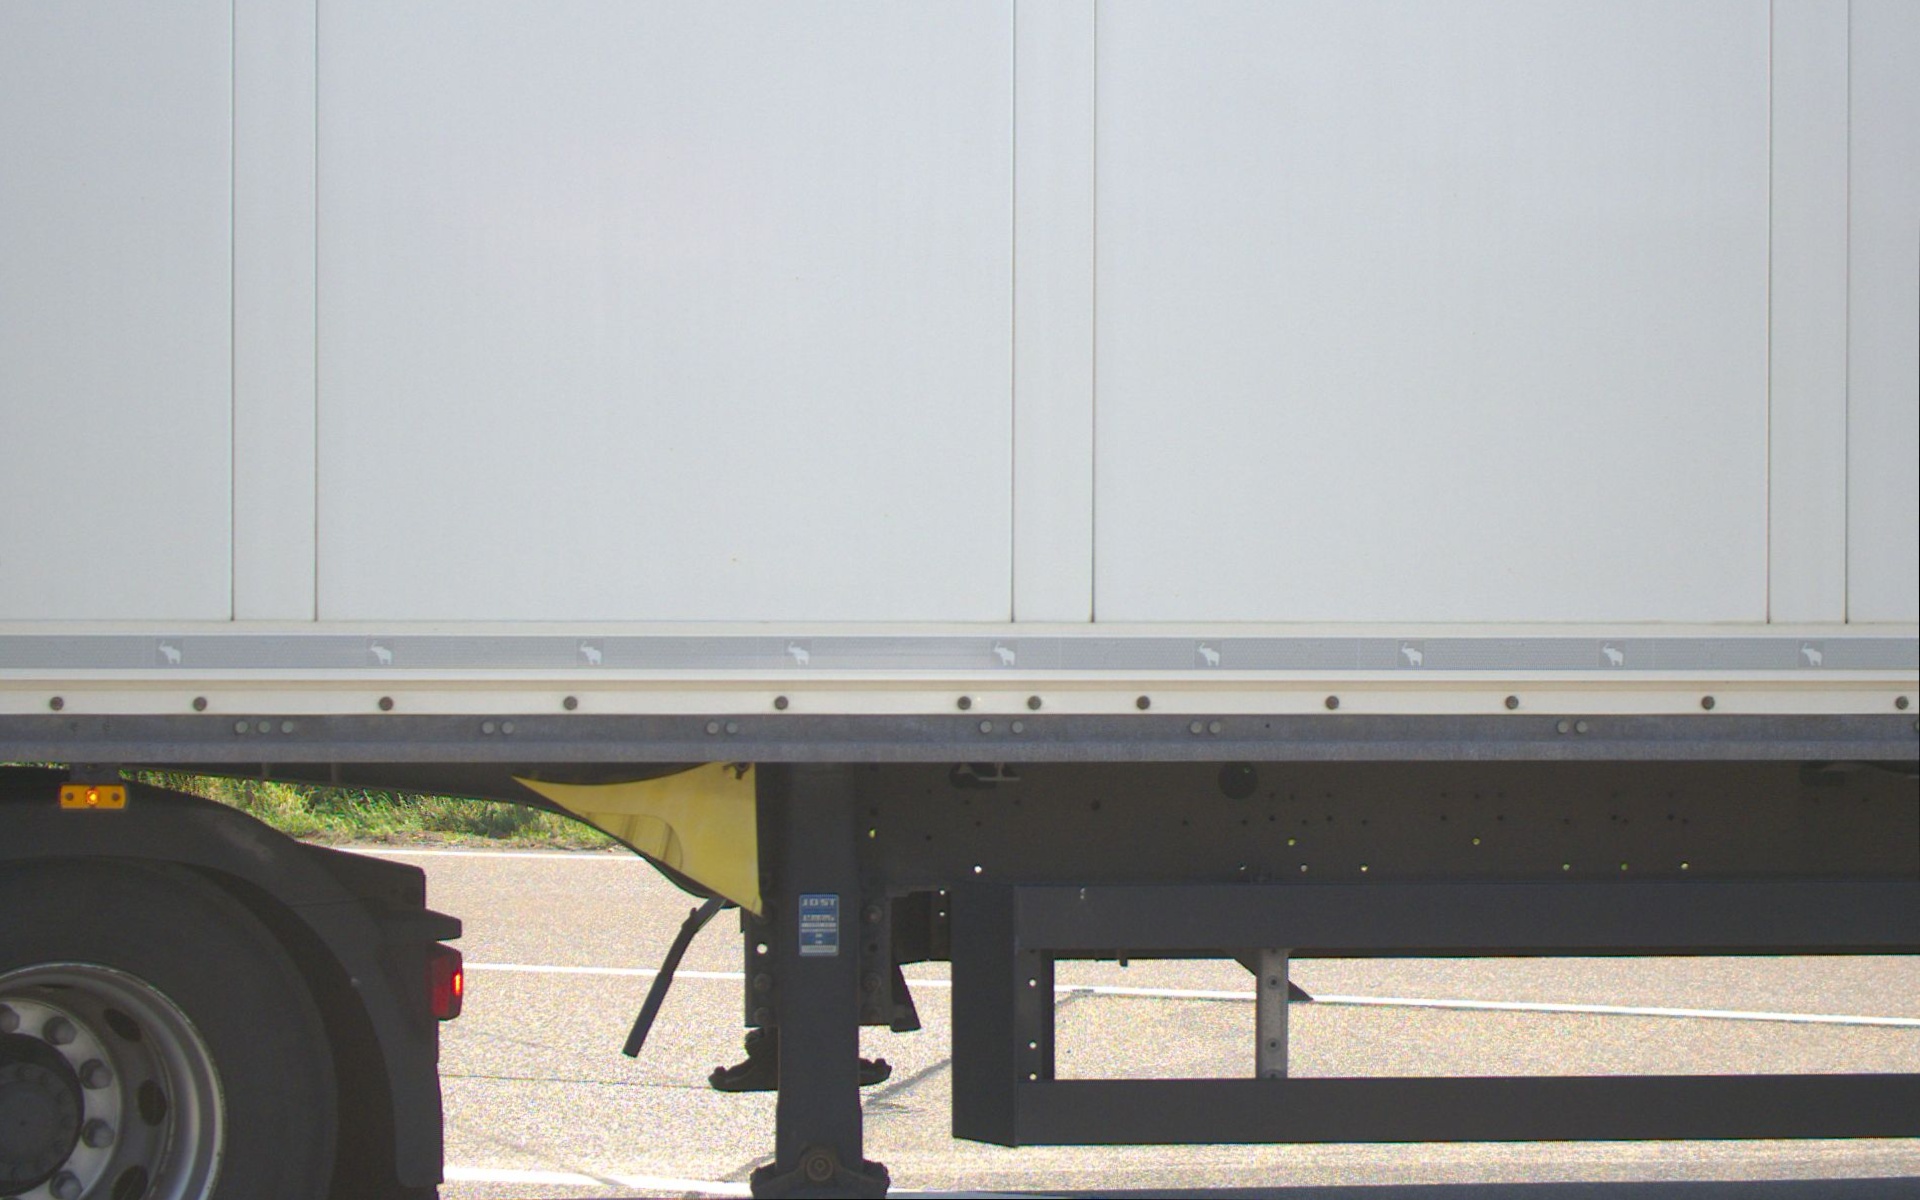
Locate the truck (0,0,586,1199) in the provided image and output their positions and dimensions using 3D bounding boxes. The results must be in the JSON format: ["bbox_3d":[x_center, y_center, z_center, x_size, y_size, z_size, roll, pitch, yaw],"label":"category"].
[{"bbox_3d":[-3.927,-0.729,5.536,5.950,4.159,2.880,1,1,-30],"label":"truck"}]

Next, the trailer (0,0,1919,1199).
[{"bbox_3d":[2.624,-0.714,6.772,13.933,4.151,2.897,0,1,-3],"label":"trailer"}]
